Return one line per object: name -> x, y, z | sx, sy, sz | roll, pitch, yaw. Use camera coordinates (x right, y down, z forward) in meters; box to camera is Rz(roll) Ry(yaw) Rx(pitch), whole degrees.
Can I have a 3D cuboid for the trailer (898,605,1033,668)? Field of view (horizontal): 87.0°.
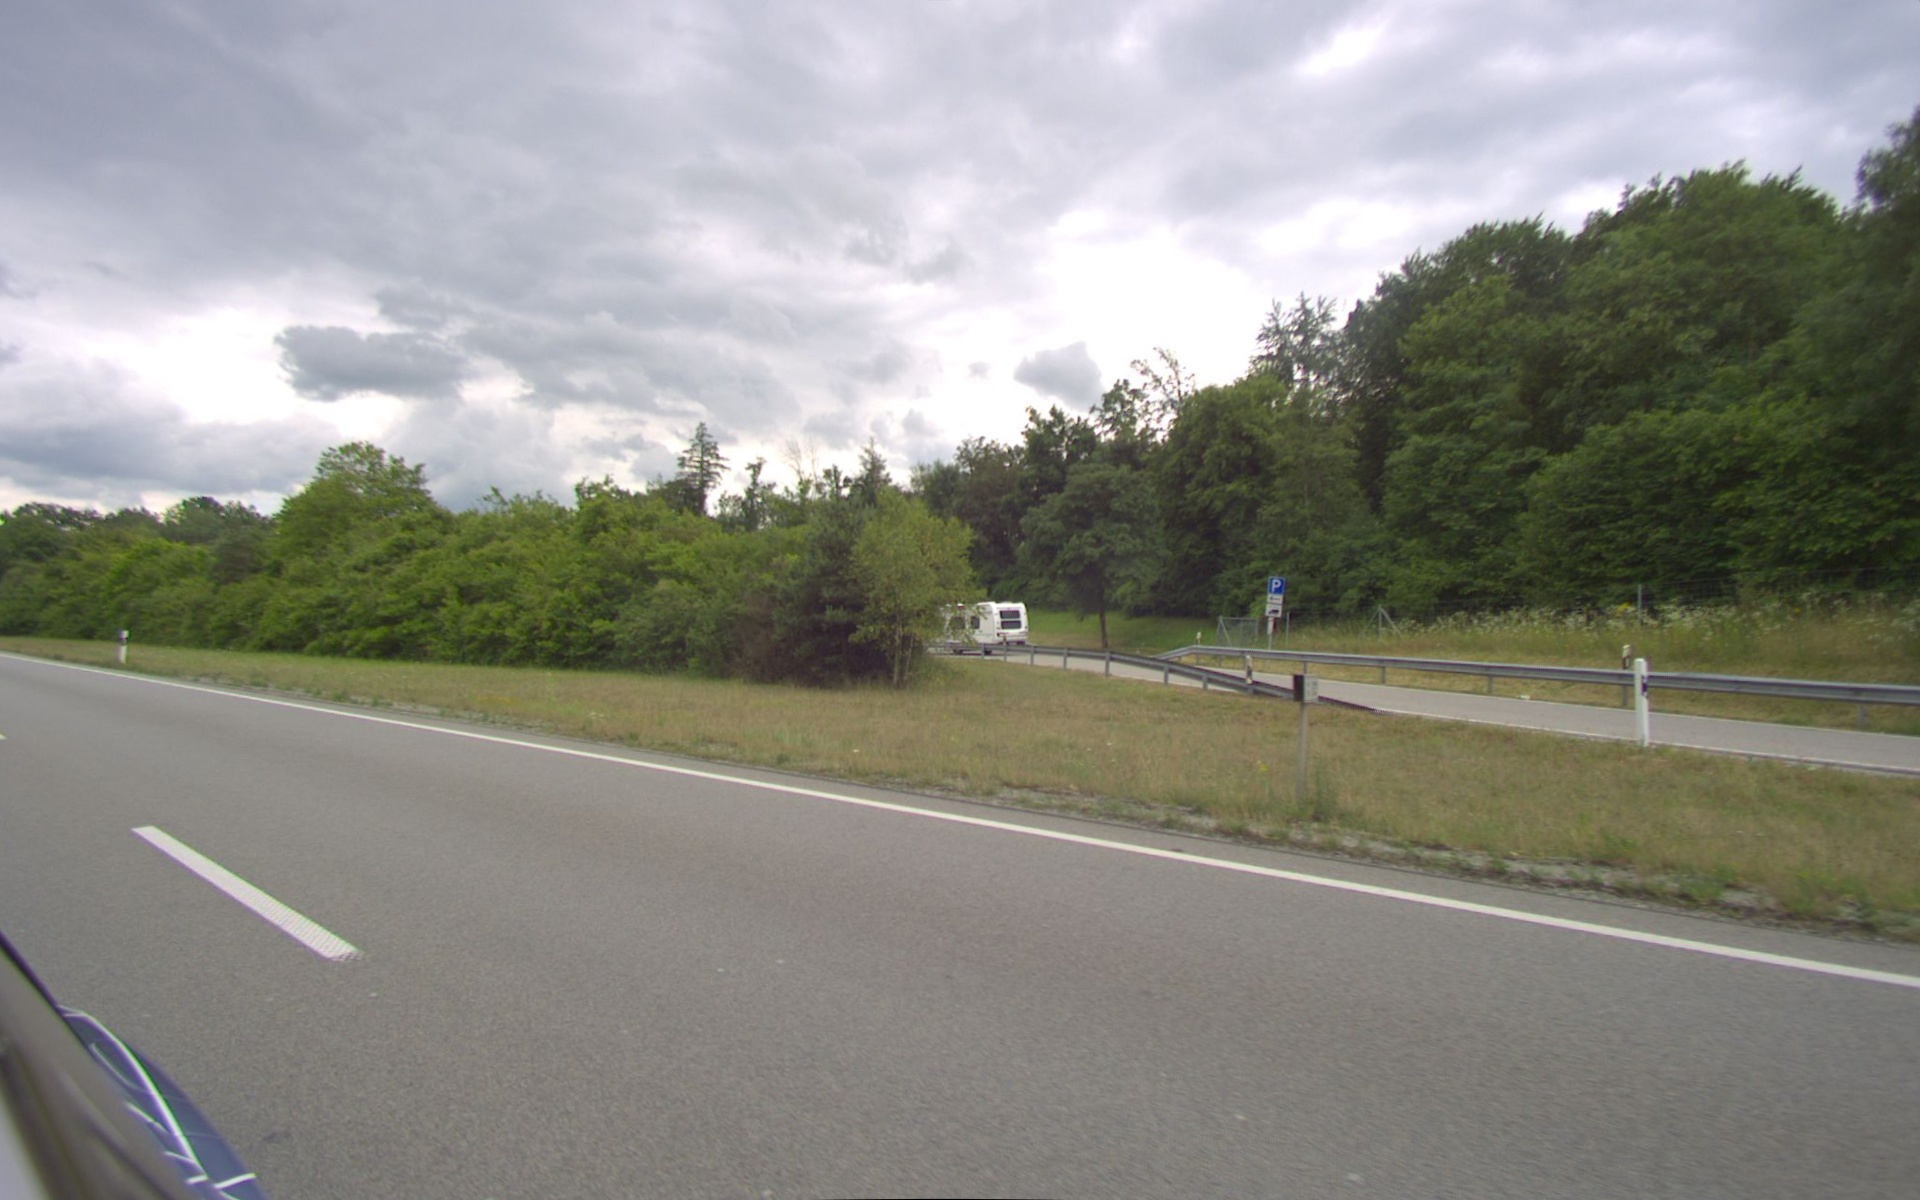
trailer -> 0.172, 1.802, 52.117 | 2.451, 2.987, 7.398 | 0, -1, -44
